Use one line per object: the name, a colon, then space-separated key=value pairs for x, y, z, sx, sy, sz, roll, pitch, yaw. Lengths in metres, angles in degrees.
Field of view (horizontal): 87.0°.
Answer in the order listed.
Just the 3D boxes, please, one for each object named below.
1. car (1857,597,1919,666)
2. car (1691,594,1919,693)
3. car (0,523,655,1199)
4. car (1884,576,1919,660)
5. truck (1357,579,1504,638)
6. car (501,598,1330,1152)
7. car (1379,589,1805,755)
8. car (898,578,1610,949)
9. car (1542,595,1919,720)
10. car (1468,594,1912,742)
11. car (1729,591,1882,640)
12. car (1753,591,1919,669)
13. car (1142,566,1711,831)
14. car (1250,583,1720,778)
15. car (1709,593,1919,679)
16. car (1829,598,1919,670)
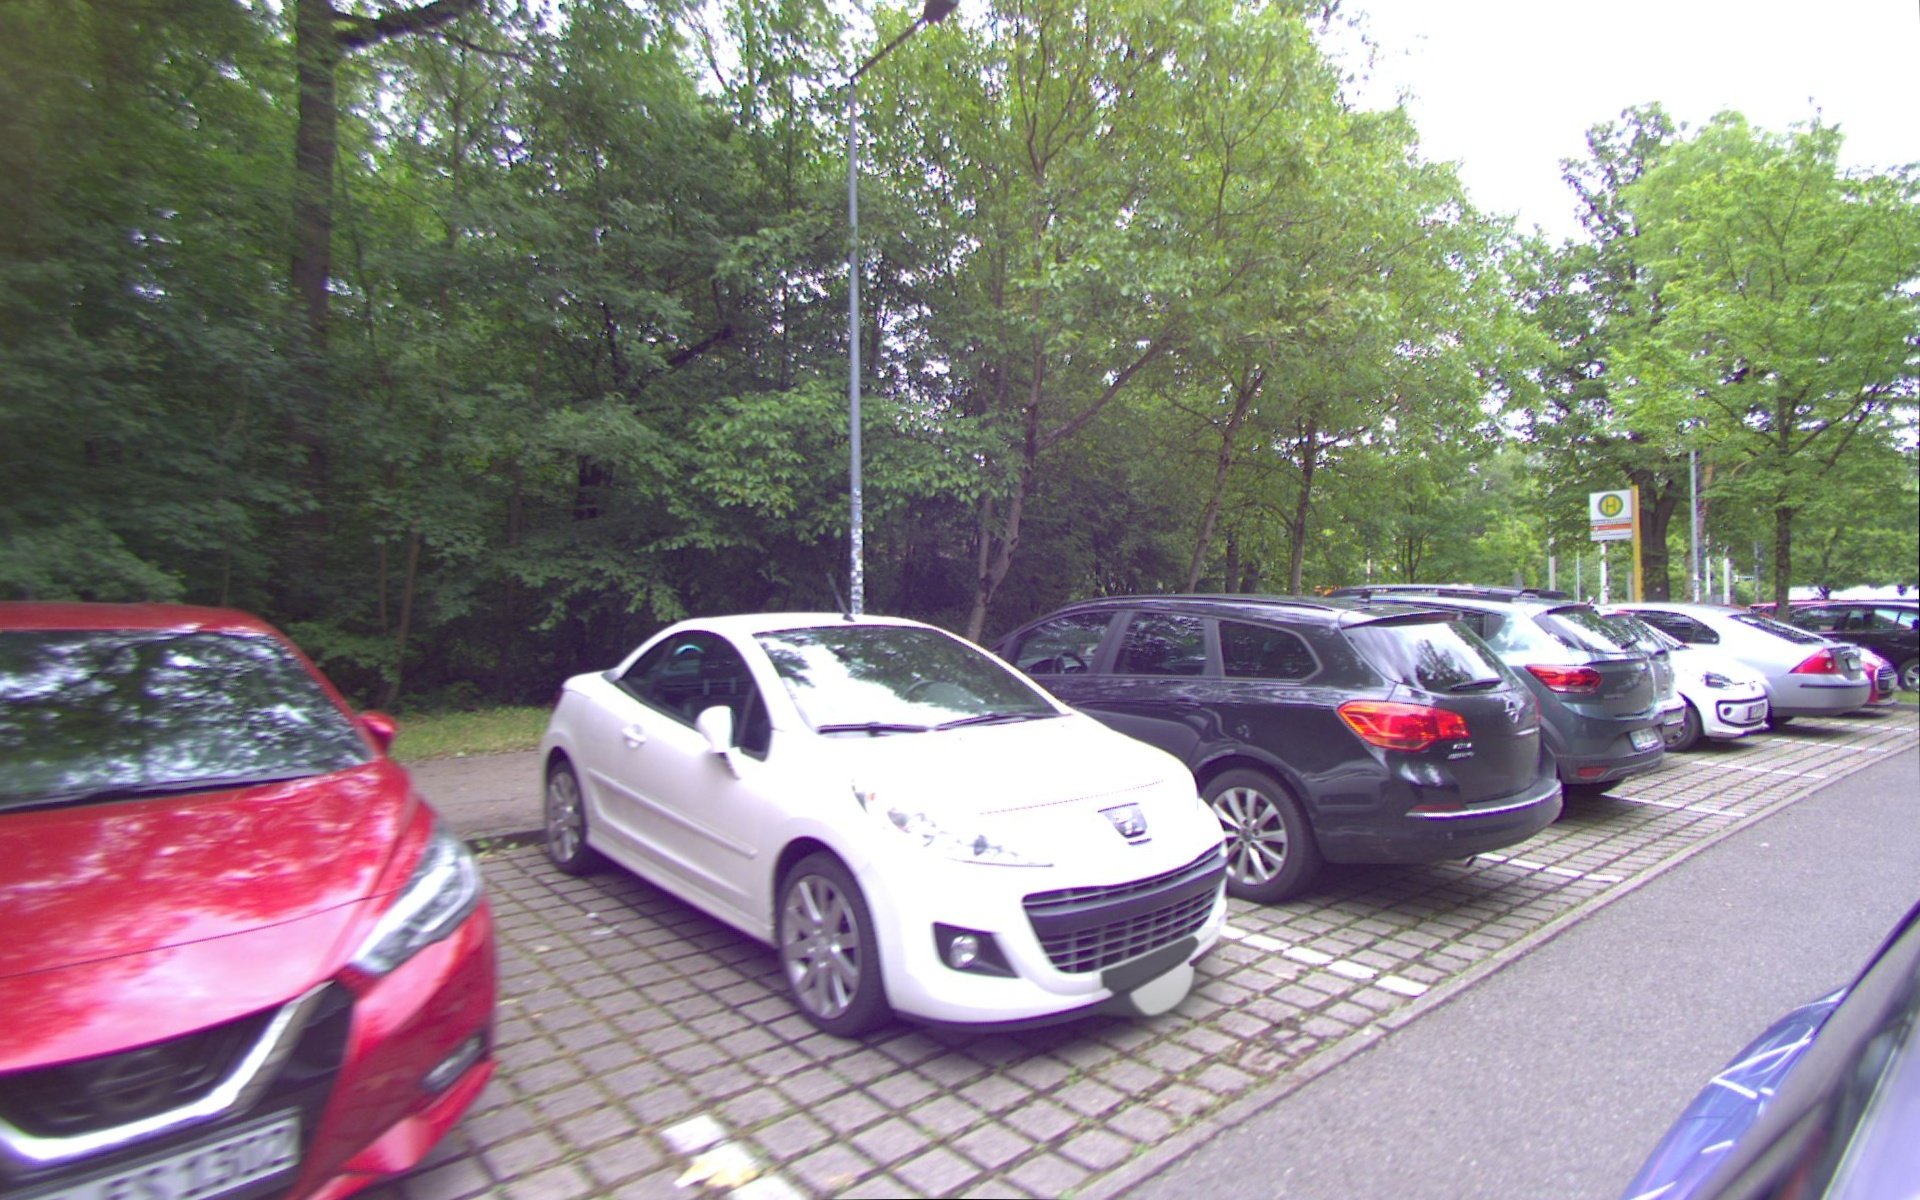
car: x=22.976 y=0.741 z=22.835 sx=1.809 sy=1.575 sz=3.736 roll=3 pitch=-3 yaw=-32
car: x=15.021 y=0.675 z=17.034 sx=1.885 sy=1.502 sz=4.001 roll=0 pitch=0 yaw=-34
car: x=-2.836 y=0.590 z=3.179 sx=3.789 sy=1.459 sz=1.843 roll=0 pitch=-1 yaw=40
car: x=25.318 y=0.428 z=23.950 sx=2.041 sy=2.047 sz=4.666 roll=2 pitch=-3 yaw=-30
truck: x=30.053 y=0.502 z=64.994 sx=2.814 sy=3.559 sz=8.246 roll=2 pitch=-1 yaw=-35
car: x=-0.563 y=0.724 z=4.750 sx=1.845 sy=1.429 sz=3.939 roll=1 pitch=0 yaw=-41
car: x=6.895 y=0.638 z=11.351 sx=1.719 sy=1.530 sz=3.711 roll=0 pitch=1 yaw=-38
car: x=1.498 y=0.659 z=6.088 sx=1.744 sy=1.500 sz=3.772 roll=1 pitch=-1 yaw=-43
car: x=10.815 y=0.691 z=14.393 sx=1.905 sy=1.468 sz=3.997 roll=0 pitch=1 yaw=-38
car: x=8.859 y=0.683 z=12.626 sx=1.830 sy=1.480 sz=4.139 roll=0 pitch=1 yaw=-36
car: x=33.481 y=0.632 z=40.230 sx=4.558 sy=1.773 sz=1.970 roll=-1 pitch=-3 yaw=41
car: x=19.102 y=0.590 z=20.225 sx=1.816 sy=1.494 sz=4.792 roll=1 pitch=0 yaw=-31
car: x=3.561 y=0.602 z=8.255 sx=1.914 sy=1.610 sz=3.777 roll=1 pitch=-1 yaw=-39
car: x=5.058 y=0.632 z=10.167 sx=1.699 sy=1.565 sz=3.850 roll=0 pitch=0 yaw=-40
car: x=16.829 y=0.617 z=18.863 sx=1.882 sy=1.499 sz=4.243 roll=0 pitch=0 yaw=-34
car: x=21.171 y=0.698 z=21.274 sx=1.840 sy=1.502 sz=4.001 roll=-1 pitch=-1 yaw=-32
